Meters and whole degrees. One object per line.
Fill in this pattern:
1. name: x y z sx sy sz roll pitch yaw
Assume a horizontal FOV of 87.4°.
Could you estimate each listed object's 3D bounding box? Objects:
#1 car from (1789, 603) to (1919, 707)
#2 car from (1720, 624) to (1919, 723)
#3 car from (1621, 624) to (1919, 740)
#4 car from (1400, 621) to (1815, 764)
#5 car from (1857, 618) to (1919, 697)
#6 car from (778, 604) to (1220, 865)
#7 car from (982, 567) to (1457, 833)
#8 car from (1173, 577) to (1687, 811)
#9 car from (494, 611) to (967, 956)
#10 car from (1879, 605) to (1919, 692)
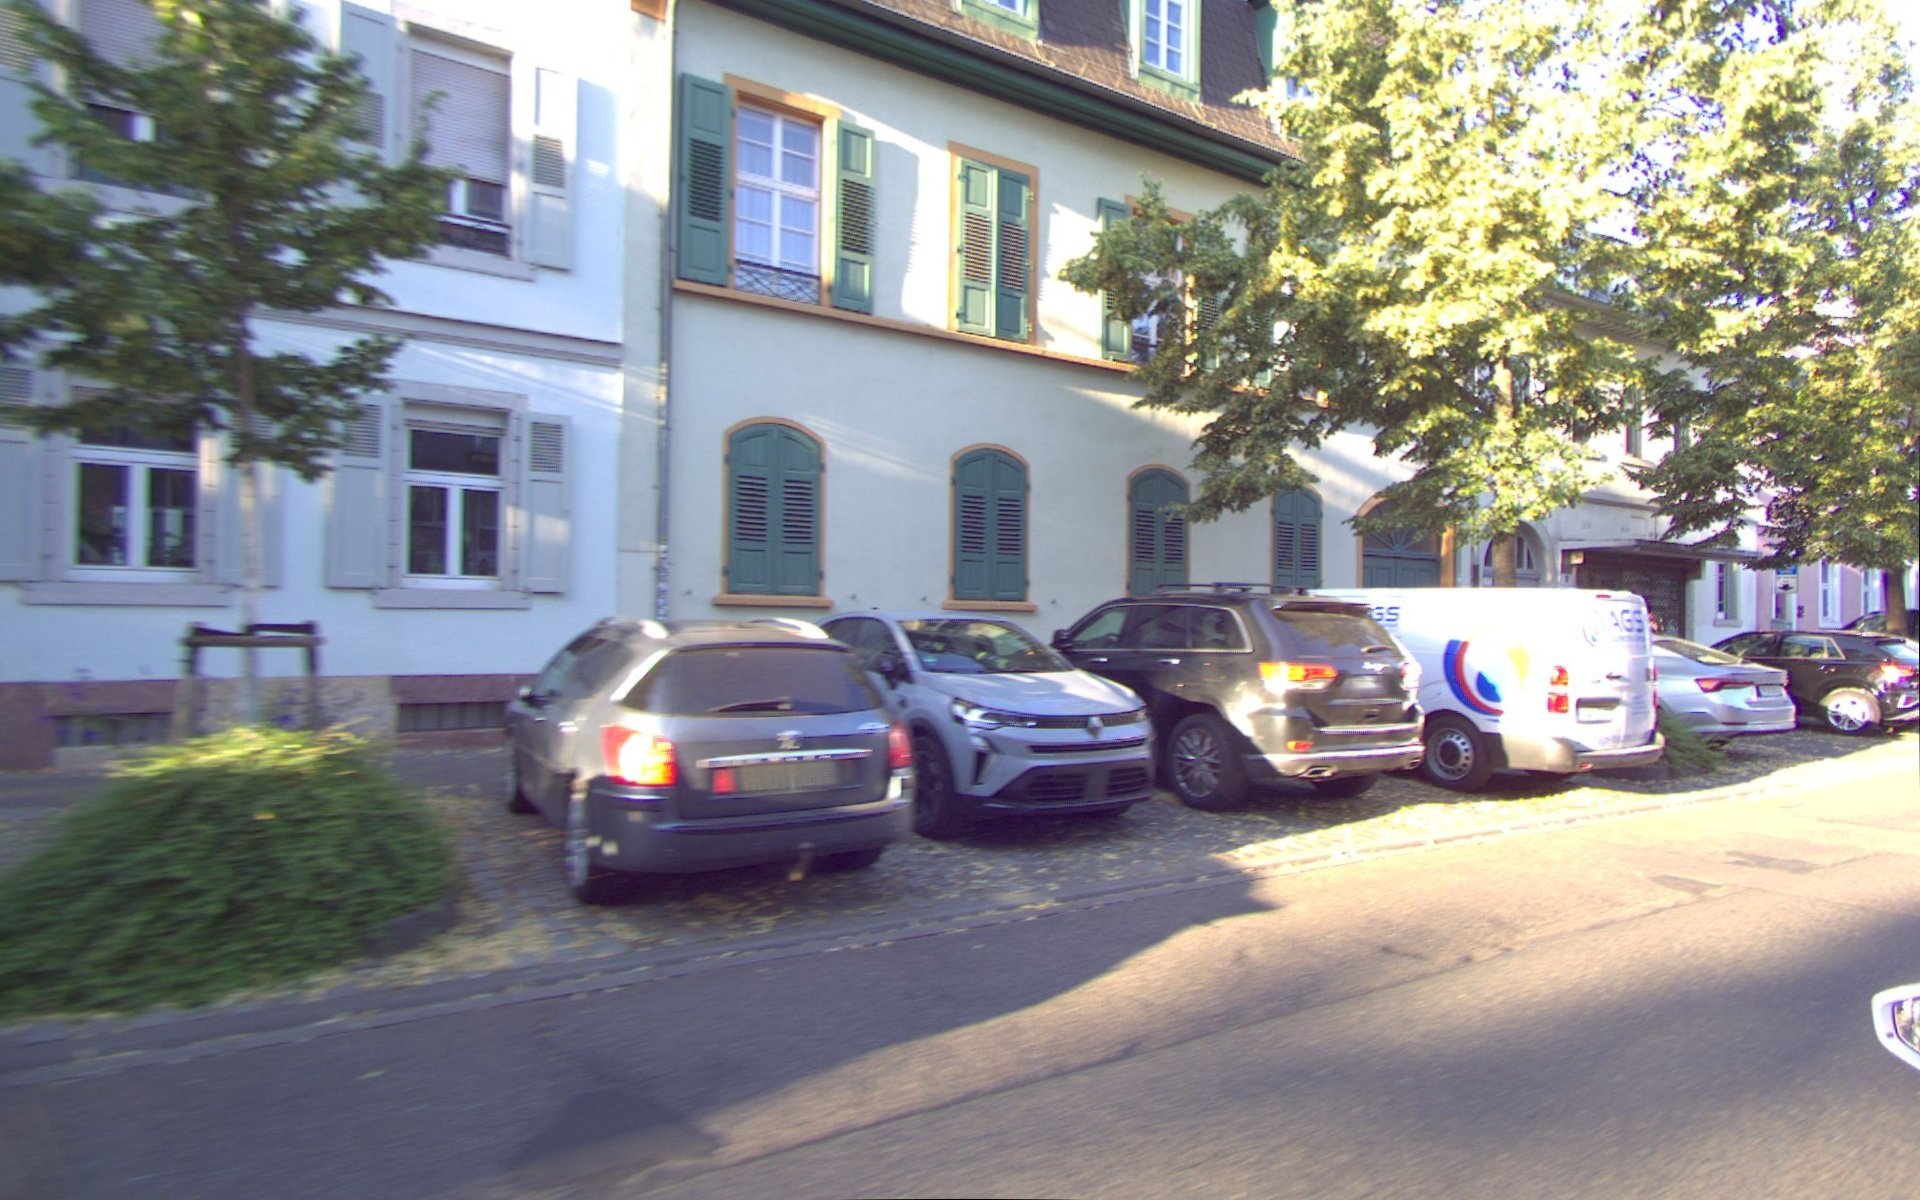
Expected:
1. car: 19.467 1.071 19.768 2.043 2.002 4.463 1 0 -29
2. car: 16.088 1.248 17.412 1.824 1.521 4.297 1 0 -35
3. car: 13.281 1.209 16.271 1.881 1.521 3.908 1 0 -28
4. car: 8.443 1.088 13.598 1.712 1.505 4.460 1 0 -28
5. car: 21.780 1.258 21.025 1.838 1.658 4.111 1 0 -29
6. car: 0.033 0.850 8.324 1.939 1.576 4.022 1 -1 -28
7. car: 2.126 0.754 9.563 1.871 1.895 4.408 1 -1 -29
8. car: 4.708 0.819 10.926 1.950 1.933 4.847 1 -1 -30
9. car: -1.801 0.836 6.619 1.940 1.503 4.018 1 -1 -30
10. car: 23.797 1.146 22.432 1.944 2.002 4.459 1 0 -32
